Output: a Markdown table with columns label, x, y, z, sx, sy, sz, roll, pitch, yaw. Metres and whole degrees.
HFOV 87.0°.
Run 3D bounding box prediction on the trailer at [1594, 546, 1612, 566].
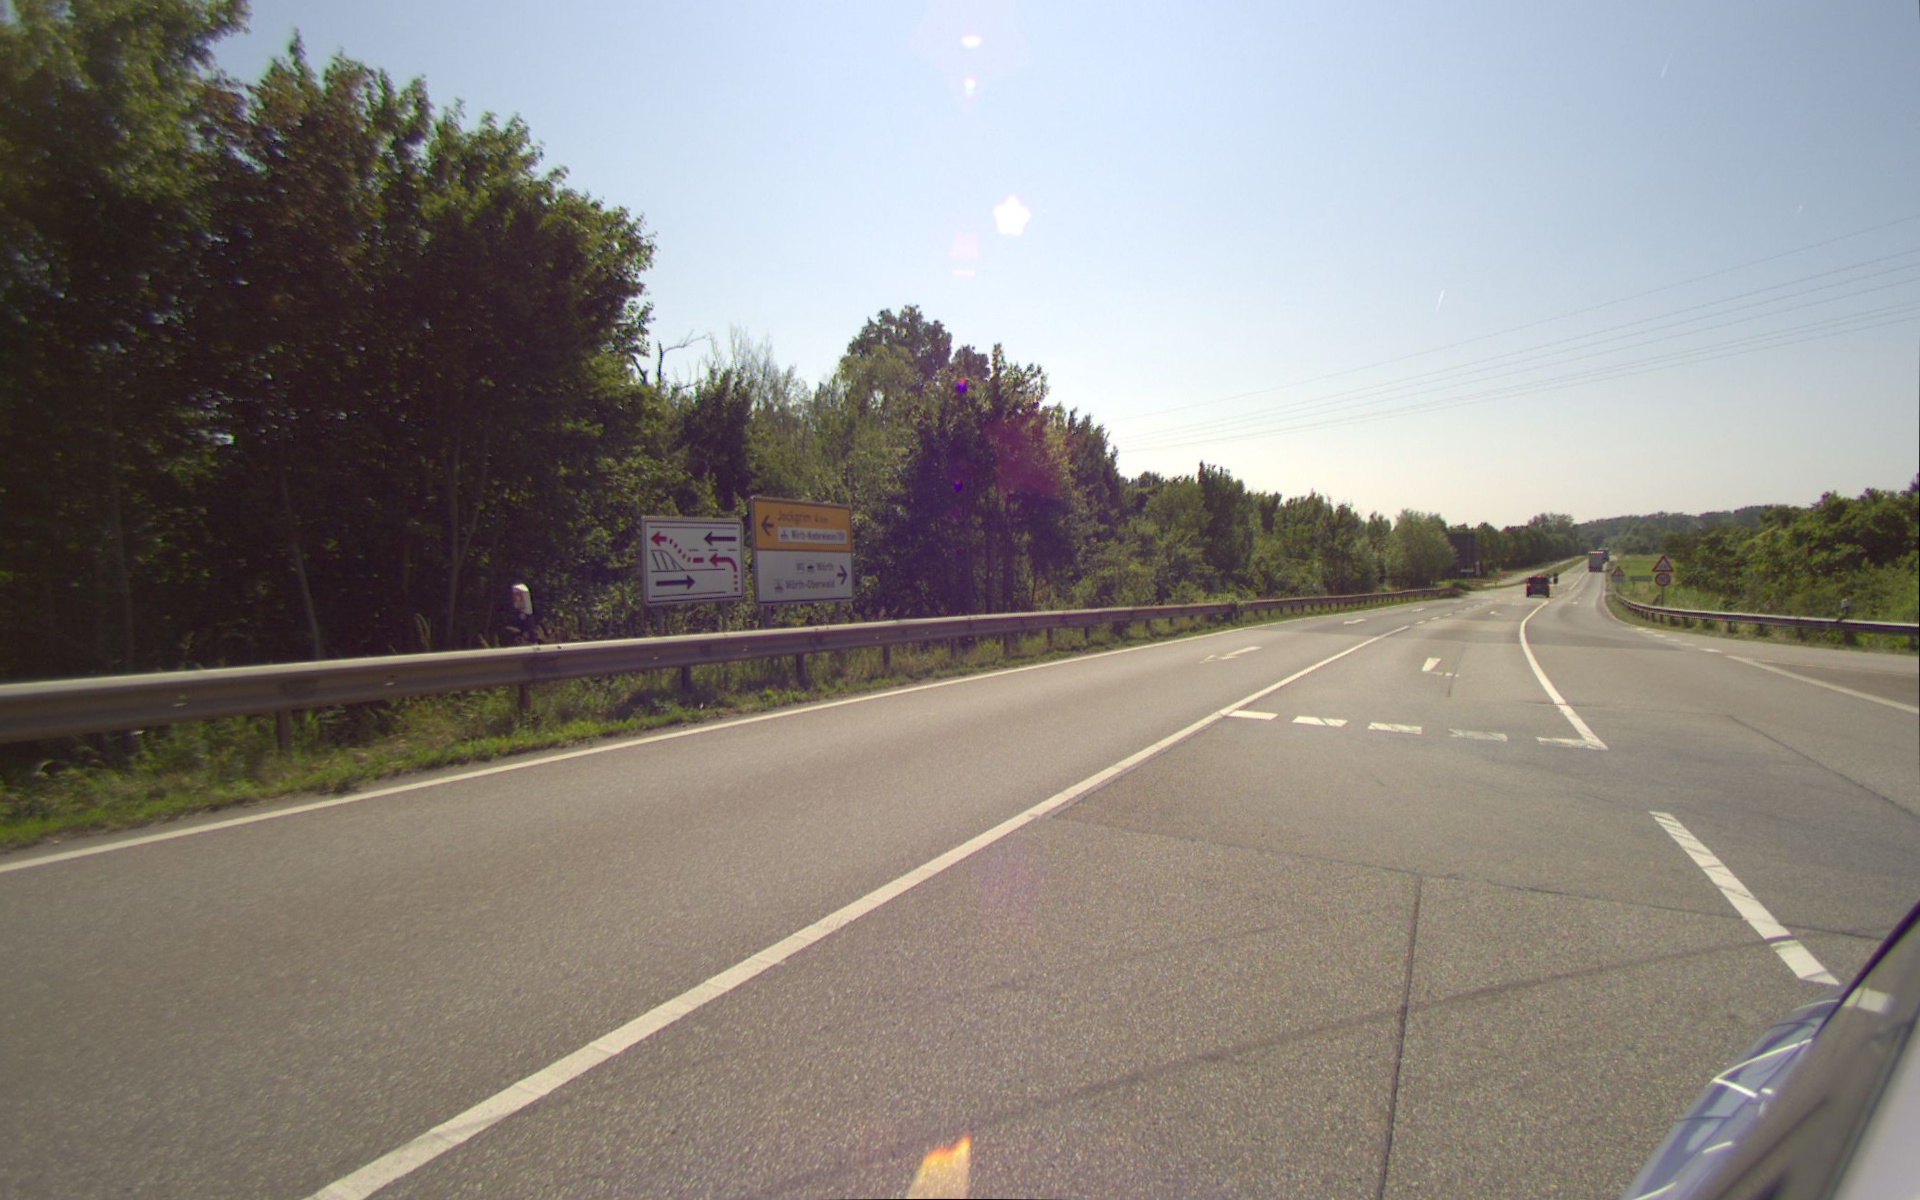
| label | x | y | z | sx | sy | sz | roll | pitch | yaw |
| --- | --- | --- | --- | --- | --- | --- | --- | --- | --- |
| trailer | 136.813 | -9.348 | 215.205 | 2.910 | 4.060 | 13.257 | 1 | 2 | 33 |

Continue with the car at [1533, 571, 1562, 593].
| label | x | y | z | sx | sy | sz | roll | pitch | yaw |
| --- | --- | --- | --- | --- | --- | --- | --- | --- | --- |
| car | 53.469 | -1.648 | 92.022 | 1.986 | 1.903 | 4.934 | 2 | 1 | 33 |
